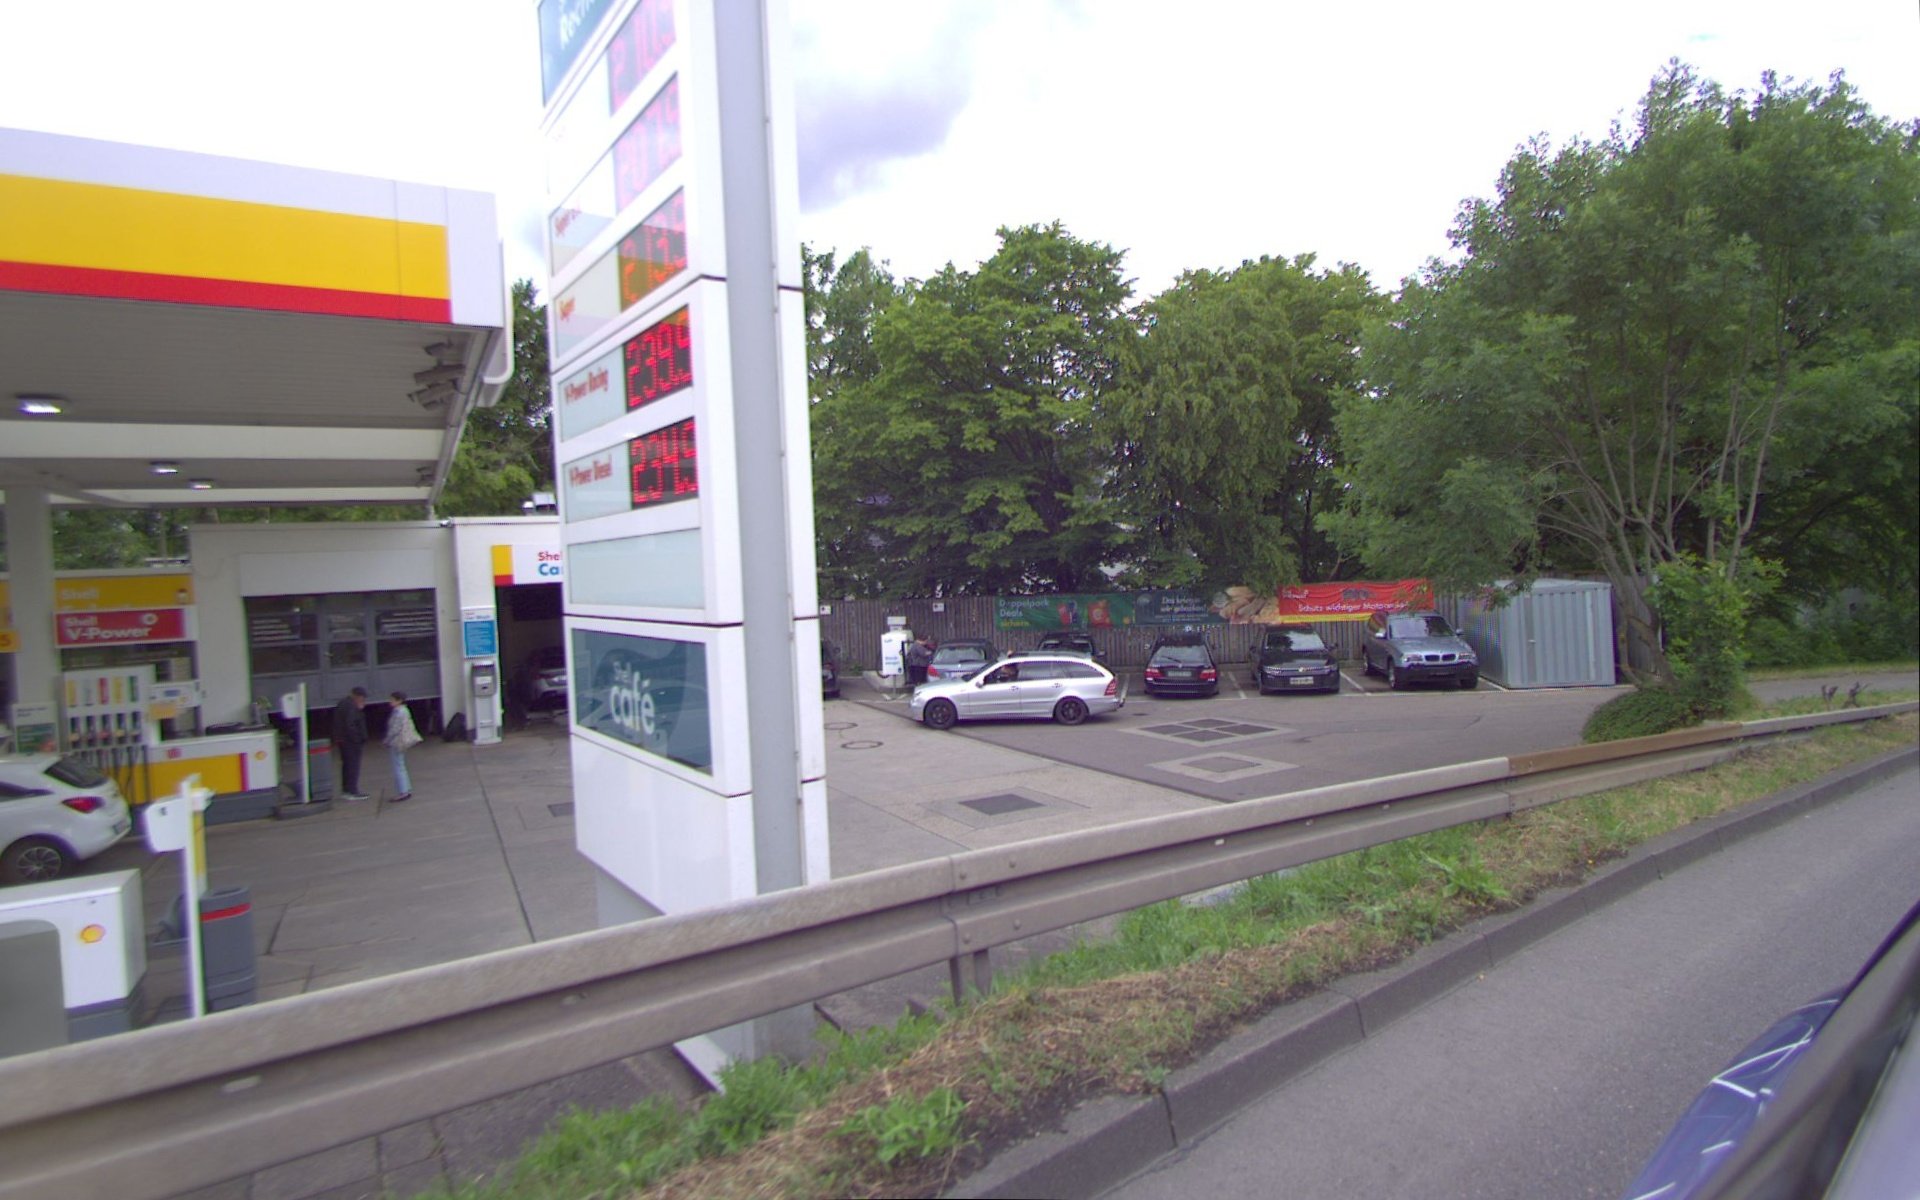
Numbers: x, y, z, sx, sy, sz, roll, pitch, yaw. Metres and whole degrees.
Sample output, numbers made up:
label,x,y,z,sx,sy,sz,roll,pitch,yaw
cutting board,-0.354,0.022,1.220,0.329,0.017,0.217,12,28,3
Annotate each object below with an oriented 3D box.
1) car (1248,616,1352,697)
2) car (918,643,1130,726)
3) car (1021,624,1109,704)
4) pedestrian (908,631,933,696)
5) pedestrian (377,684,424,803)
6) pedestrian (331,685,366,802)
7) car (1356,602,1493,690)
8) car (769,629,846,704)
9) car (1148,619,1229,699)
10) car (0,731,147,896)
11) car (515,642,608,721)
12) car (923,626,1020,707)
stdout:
label,x,y,z,sx,sy,sz,roll,pitch,yaw
car,8.016,1.272,24.190,1.707,1.444,4.282,-3,2,11
car,1.326,1.736,21.057,4.218,1.449,1.600,-1,2,6
car,2.651,1.497,24.853,1.708,1.453,4.205,-1,3,12
pedestrian,-0.970,1.561,24.988,0.461,1.559,0.430,-3,-3,10
pedestrian,-8.684,2.203,15.700,0.598,1.726,0.544,0,0,-34
pedestrian,-9.555,2.222,15.813,0.424,1.726,0.492,0,0,-37
car,10.784,0.997,23.805,1.706,1.610,4.285,-3,2,9
car,-3.910,1.651,26.446,1.689,1.453,4.112,-1,3,-5
car,5.561,1.371,24.850,1.708,1.453,4.280,-3,2,12
car,-11.978,2.583,11.584,3.799,1.504,1.744,-3,2,-26
car,-10.079,1.964,25.439,1.706,1.504,3.883,-3,3,-28
car,0.370,1.566,25.064,1.603,1.538,4.088,-1,3,12
